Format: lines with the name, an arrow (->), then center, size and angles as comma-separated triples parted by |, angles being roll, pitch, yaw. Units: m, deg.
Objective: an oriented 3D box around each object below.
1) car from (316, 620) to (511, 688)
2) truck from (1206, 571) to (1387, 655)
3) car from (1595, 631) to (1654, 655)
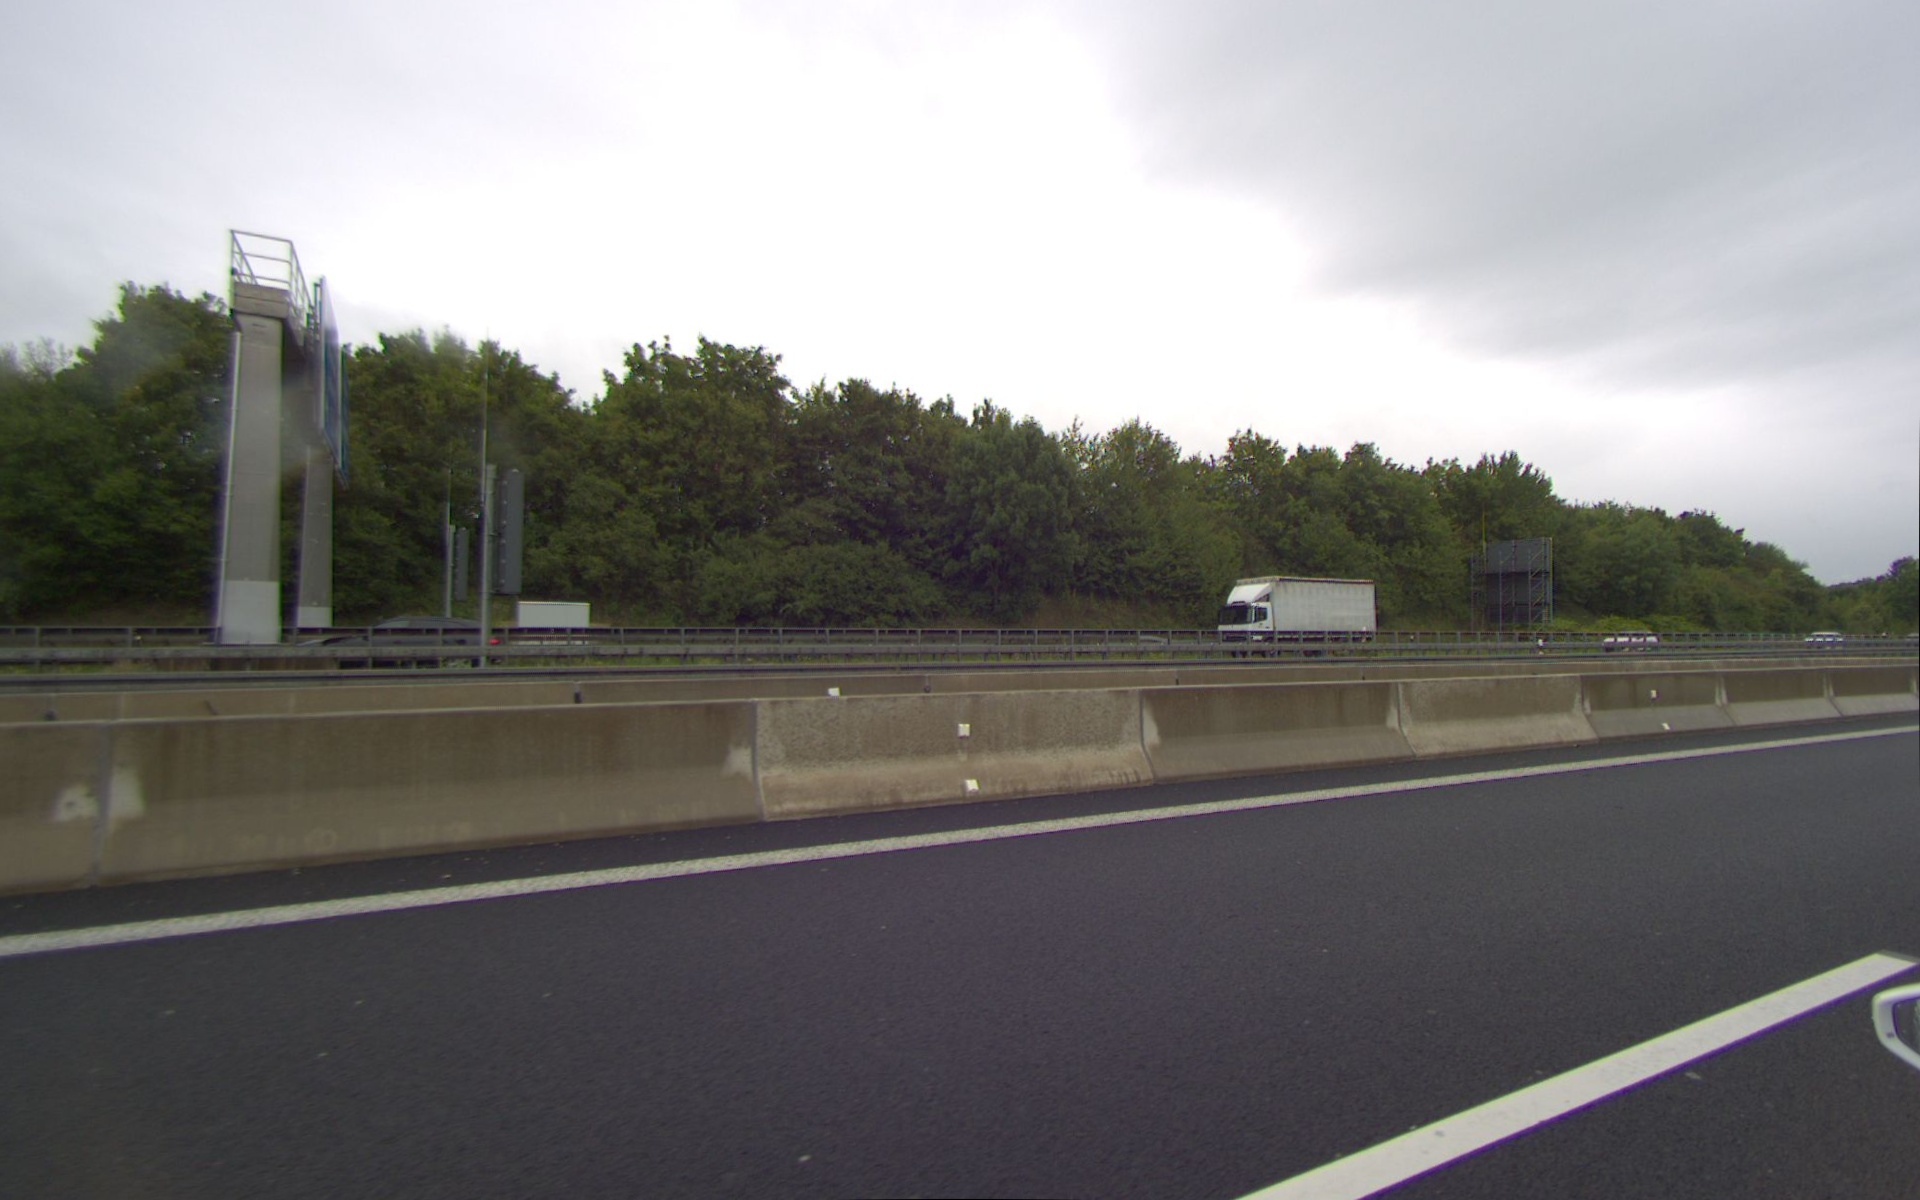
car -> -13.042, 1.272, 24.124 | 3.953, 1.475, 1.668 | 2, 0, -30
truck -> 17.028, 0.731, 50.585 | 9.521, 3.930, 3.060 | 2, 0, -30
car -> 43.592, 2.818, 65.901 | 3.953, 1.475, 1.668 | 2, 0, -30
